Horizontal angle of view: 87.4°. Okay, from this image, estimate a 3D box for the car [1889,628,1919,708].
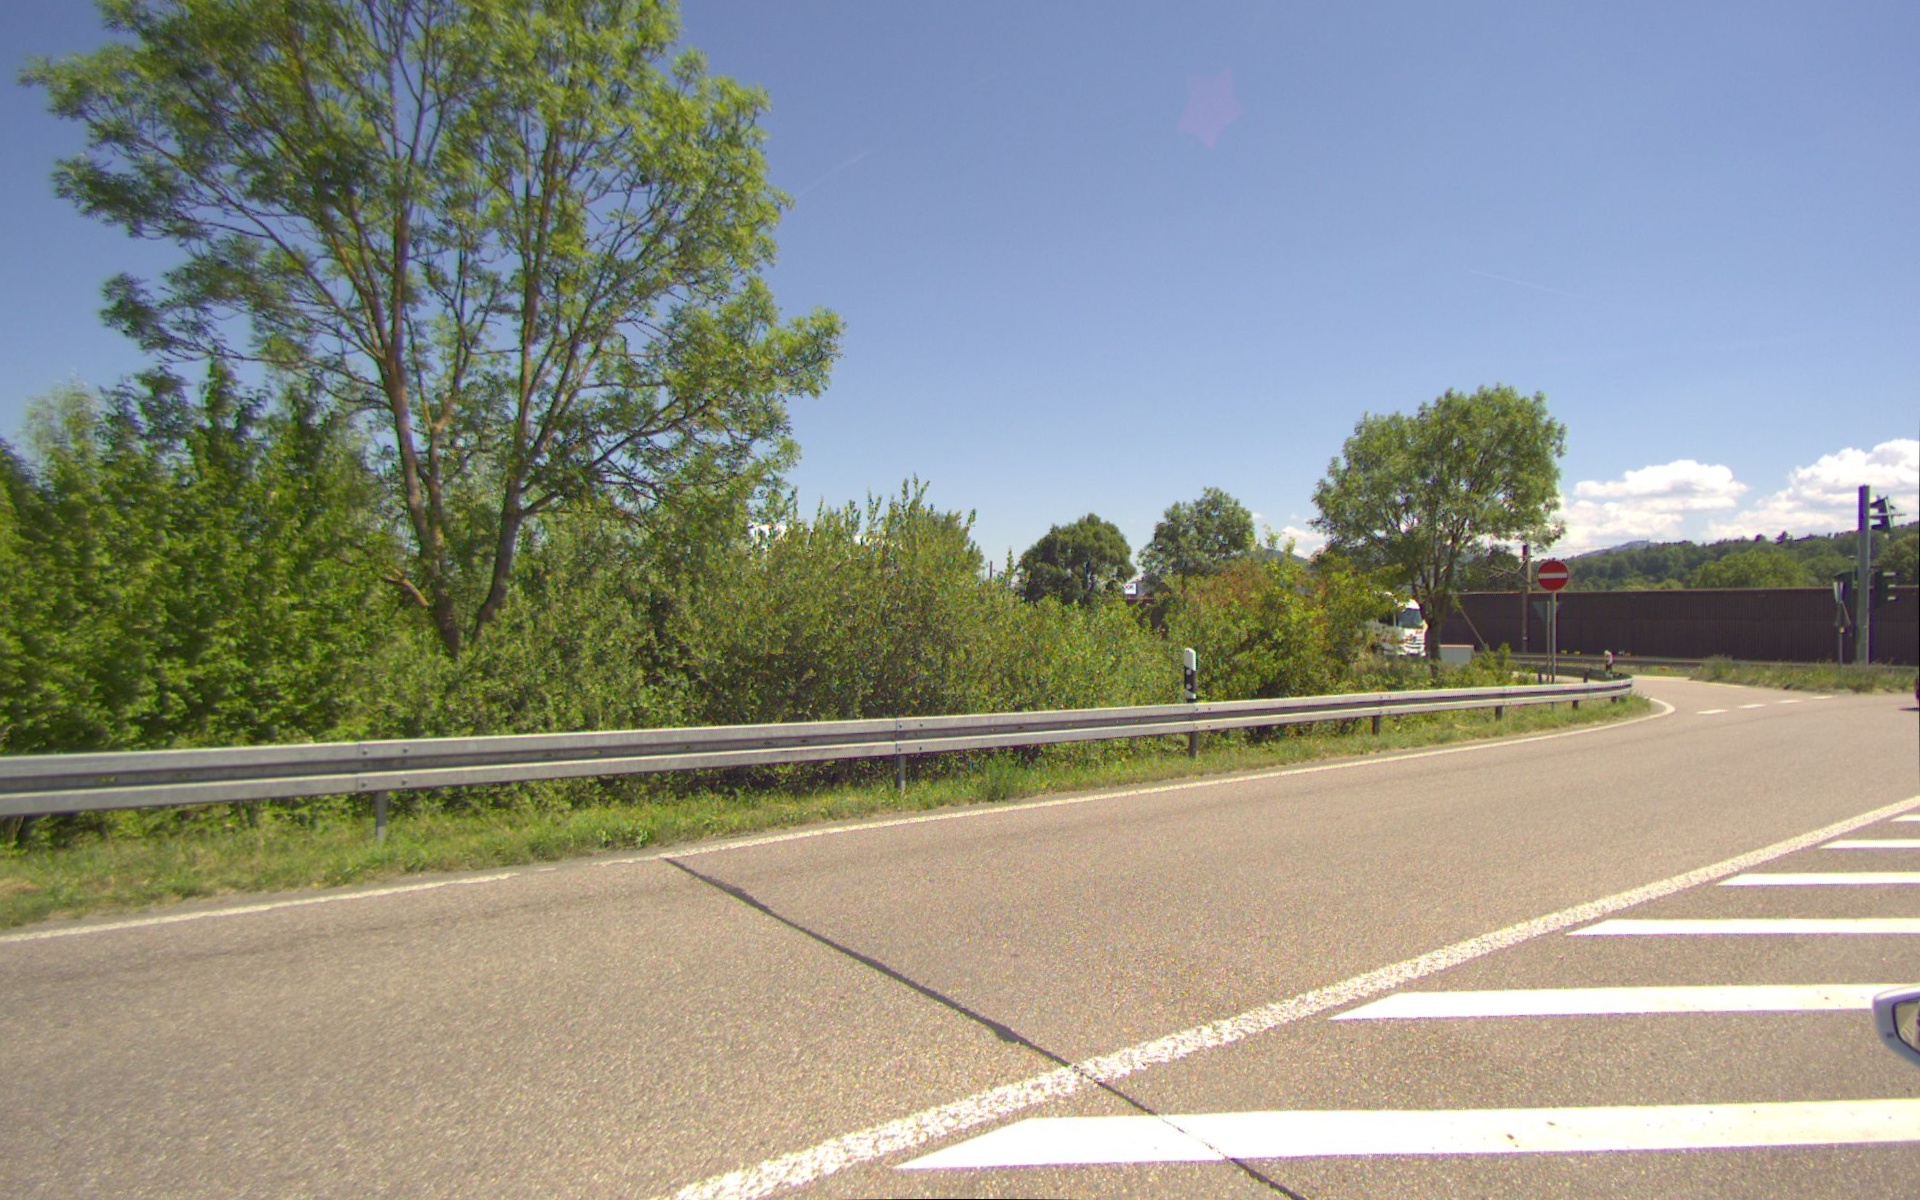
[{"bbox_3d":[22.387,1.510,21.961,4.276,1.678,1.983,2,-1,-32],"label":"car"}]

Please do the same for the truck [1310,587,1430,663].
[{"bbox_3d":[21.007,1.233,51.684,2.496,3.694,5.228,2,-1,-34],"label":"truck"}]

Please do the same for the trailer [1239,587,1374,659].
[{"bbox_3d":[18.810,1.221,54.983,2.496,3.694,6.853,2,-1,-33],"label":"trailer"}]
